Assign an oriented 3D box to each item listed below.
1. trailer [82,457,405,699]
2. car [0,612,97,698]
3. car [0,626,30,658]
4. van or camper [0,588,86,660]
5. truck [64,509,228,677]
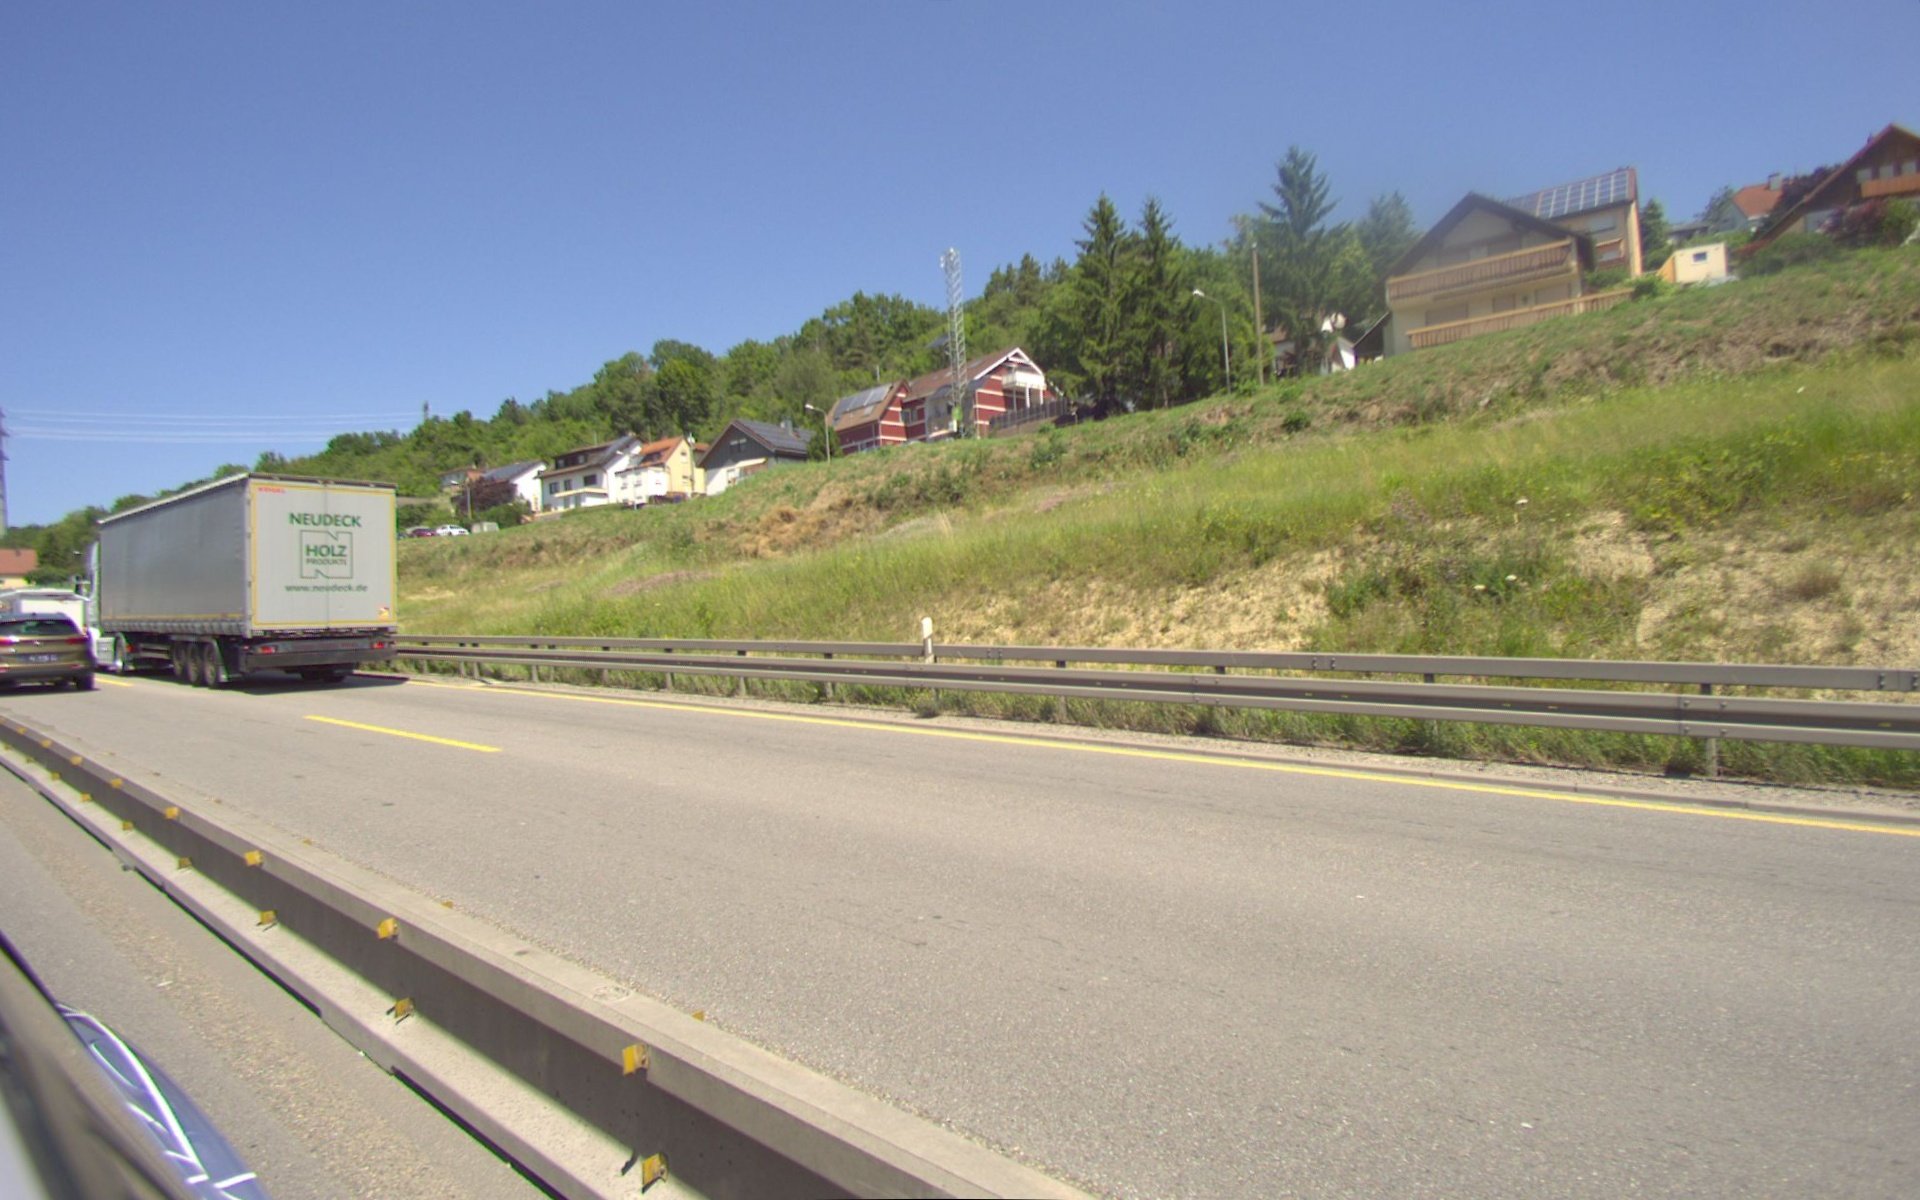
[{"bbox_3d":[-17.322,-0.279,23.677,14.025,4.319,2.782,-1,0,41],"label":"trailer"},{"bbox_3d":[-19.447,1.096,20.913,4.171,1.598,1.830,-1,0,40],"label":"car"},{"bbox_3d":[-49.106,2.153,51.802,4.261,1.563,1.699,-2,-1,40],"label":"car"},{"bbox_3d":[-39.306,1.005,42.893,7.511,2.798,2.310,-2,-1,41],"label":"van or camper"},{"bbox_3d":[-22.983,-0.145,28.534,4.673,4.319,2.746,-2,0,40],"label":"truck"}]
